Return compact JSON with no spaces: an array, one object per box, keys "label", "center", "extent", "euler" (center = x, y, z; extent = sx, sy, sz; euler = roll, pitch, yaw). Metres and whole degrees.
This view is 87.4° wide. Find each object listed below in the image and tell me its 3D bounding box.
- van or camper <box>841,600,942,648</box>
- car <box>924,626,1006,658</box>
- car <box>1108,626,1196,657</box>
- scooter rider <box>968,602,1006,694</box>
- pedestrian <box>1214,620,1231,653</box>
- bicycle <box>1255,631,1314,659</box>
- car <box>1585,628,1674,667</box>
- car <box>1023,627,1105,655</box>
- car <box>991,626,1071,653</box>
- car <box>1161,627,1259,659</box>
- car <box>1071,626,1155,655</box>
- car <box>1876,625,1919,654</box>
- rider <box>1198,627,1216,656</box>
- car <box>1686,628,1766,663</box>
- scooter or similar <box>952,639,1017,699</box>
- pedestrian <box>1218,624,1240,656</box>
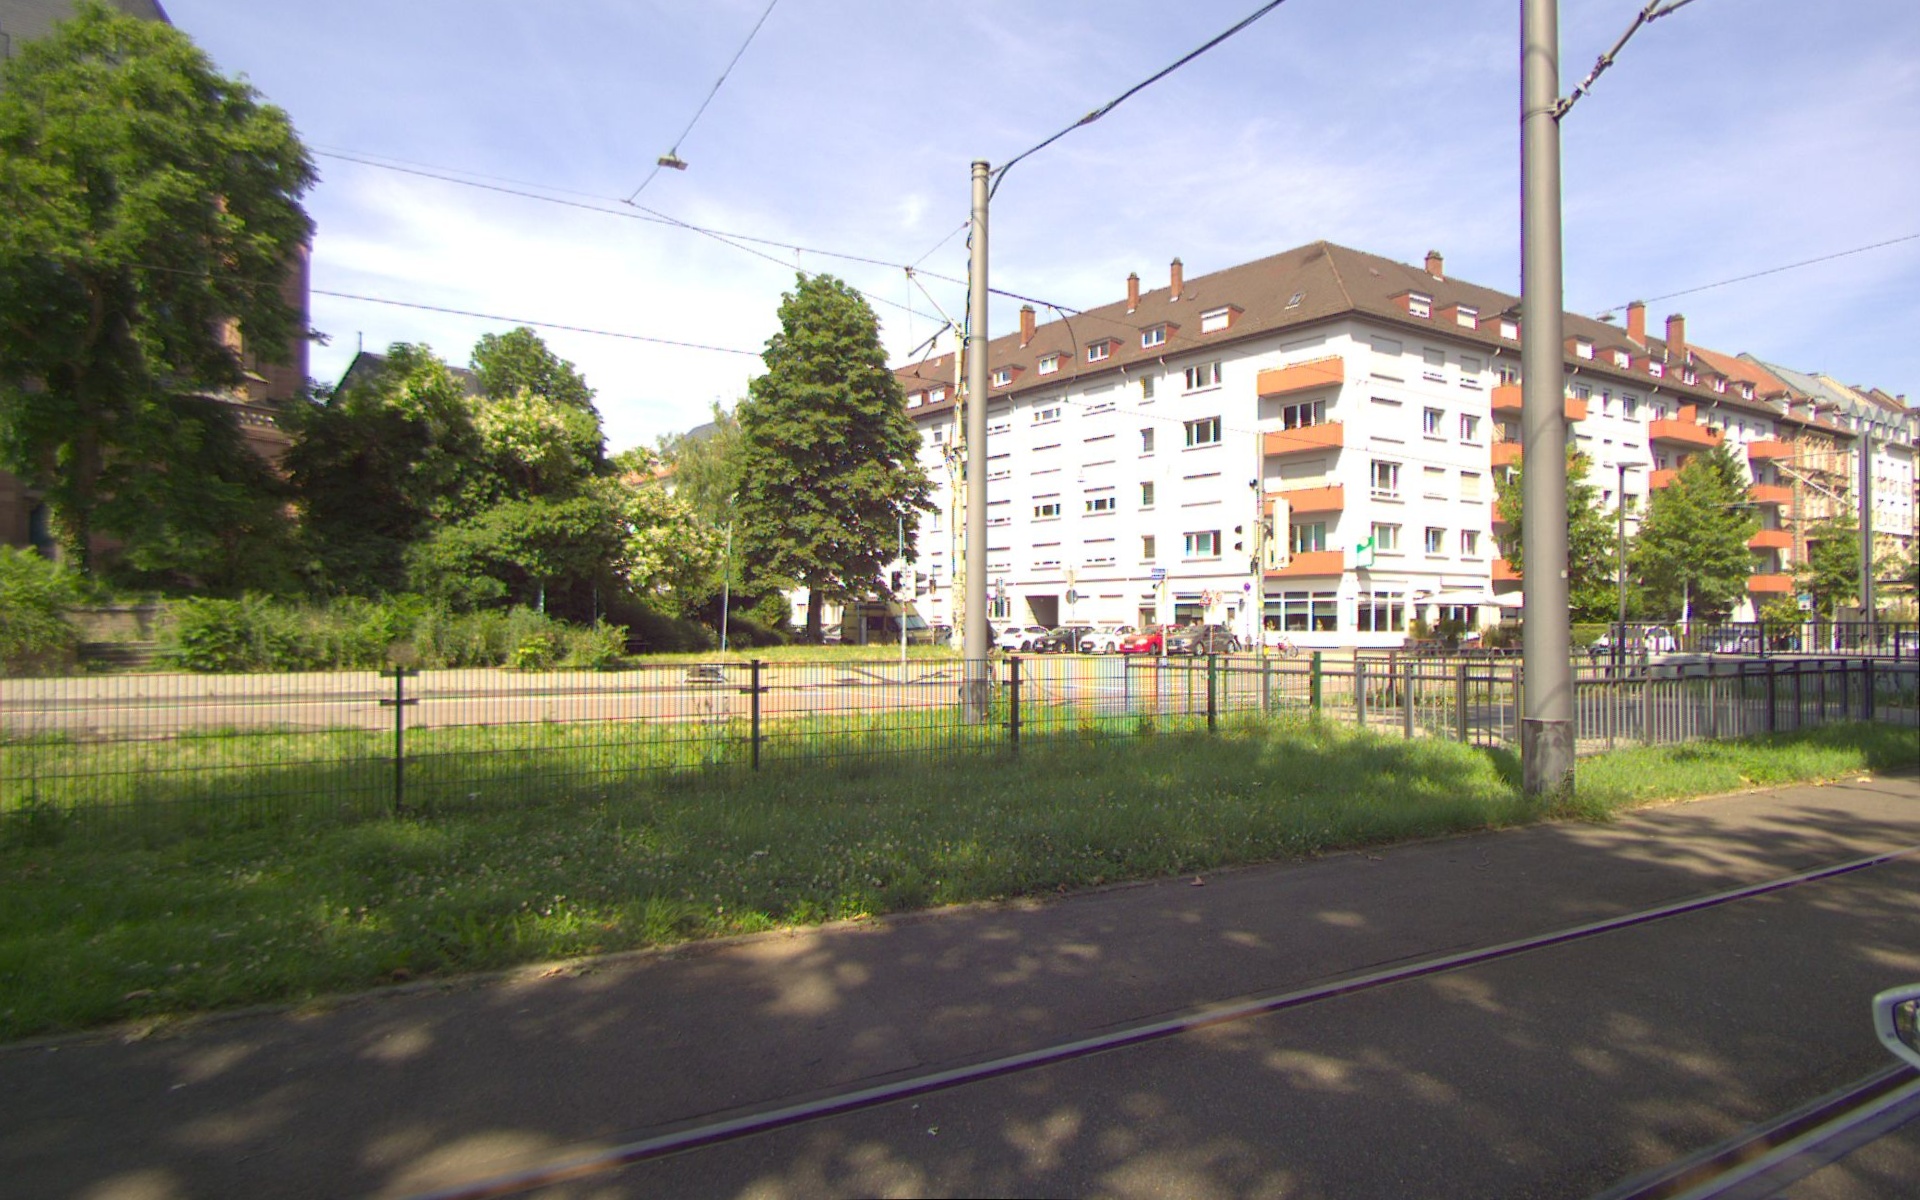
[{"label":"van or camper","center":[-3.620,1.255,52.024],"extent":[2.228,2.360,5.704],"euler":[1,-2,-42]},{"label":"car","center":[0.211,1.962,47.633],"extent":[3.702,1.425,1.823],"euler":[-1,-2,44]},{"label":"car","center":[9.272,1.970,48.390],"extent":[4.129,1.425,1.918],"euler":[1,-2,-38]},{"label":"scooter rider","center":[0.558,0.993,21.080],"extent":[0.657,1.891,0.663],"euler":[0,-1,-12]},{"label":"pedestrian","center":[12.787,1.785,48.934],"extent":[0.679,1.593,0.544],"euler":[-1,-1,36]},{"label":"bicycle","center":[14.202,1.957,43.933],"extent":[2.779,1.152,0.905],"euler":[1,-1,-34]},{"label":"car","center":[27.337,1.905,40.980],"extent":[3.961,1.518,1.759],"euler":[1,-3,-36]},{"label":"car","center":[5.438,2.106,52.268],"extent":[4.129,1.425,1.918],"euler":[1,-2,-38]},{"label":"car","center":[3.873,2.130,54.546],"extent":[4.129,1.425,1.917],"euler":[1,-1,-38]},{"label":"car","center":[11.440,1.917,45.797],"extent":[4.598,1.394,1.821],"euler":[1,-2,-36]},{"label":"car","center":[7.728,2.027,50.706],"extent":[4.129,1.425,1.918],"euler":[1,-2,-38]},{"label":"car","center":[53.013,2.185,56.240],"extent":[3.961,1.518,1.758],"euler":[1,-2,-36]},{"label":"rider","center":[12.111,2.032,49.271],"extent":[0.616,1.442,0.587],"euler":[-1,-1,44]},{"label":"car","center":[34.603,2.039,45.354],"extent":[3.961,1.518,1.759],"euler":[1,-3,-36]},{"label":"scooter or similar","center":[0.503,1.435,21.057],"extent":[1.248,1.220,0.656],"euler":[0,-1,-11]},{"label":"pedestrian","center":[13.224,1.955,49.406],"extent":[0.846,1.593,0.688],"euler":[-1,-1,36]}]
